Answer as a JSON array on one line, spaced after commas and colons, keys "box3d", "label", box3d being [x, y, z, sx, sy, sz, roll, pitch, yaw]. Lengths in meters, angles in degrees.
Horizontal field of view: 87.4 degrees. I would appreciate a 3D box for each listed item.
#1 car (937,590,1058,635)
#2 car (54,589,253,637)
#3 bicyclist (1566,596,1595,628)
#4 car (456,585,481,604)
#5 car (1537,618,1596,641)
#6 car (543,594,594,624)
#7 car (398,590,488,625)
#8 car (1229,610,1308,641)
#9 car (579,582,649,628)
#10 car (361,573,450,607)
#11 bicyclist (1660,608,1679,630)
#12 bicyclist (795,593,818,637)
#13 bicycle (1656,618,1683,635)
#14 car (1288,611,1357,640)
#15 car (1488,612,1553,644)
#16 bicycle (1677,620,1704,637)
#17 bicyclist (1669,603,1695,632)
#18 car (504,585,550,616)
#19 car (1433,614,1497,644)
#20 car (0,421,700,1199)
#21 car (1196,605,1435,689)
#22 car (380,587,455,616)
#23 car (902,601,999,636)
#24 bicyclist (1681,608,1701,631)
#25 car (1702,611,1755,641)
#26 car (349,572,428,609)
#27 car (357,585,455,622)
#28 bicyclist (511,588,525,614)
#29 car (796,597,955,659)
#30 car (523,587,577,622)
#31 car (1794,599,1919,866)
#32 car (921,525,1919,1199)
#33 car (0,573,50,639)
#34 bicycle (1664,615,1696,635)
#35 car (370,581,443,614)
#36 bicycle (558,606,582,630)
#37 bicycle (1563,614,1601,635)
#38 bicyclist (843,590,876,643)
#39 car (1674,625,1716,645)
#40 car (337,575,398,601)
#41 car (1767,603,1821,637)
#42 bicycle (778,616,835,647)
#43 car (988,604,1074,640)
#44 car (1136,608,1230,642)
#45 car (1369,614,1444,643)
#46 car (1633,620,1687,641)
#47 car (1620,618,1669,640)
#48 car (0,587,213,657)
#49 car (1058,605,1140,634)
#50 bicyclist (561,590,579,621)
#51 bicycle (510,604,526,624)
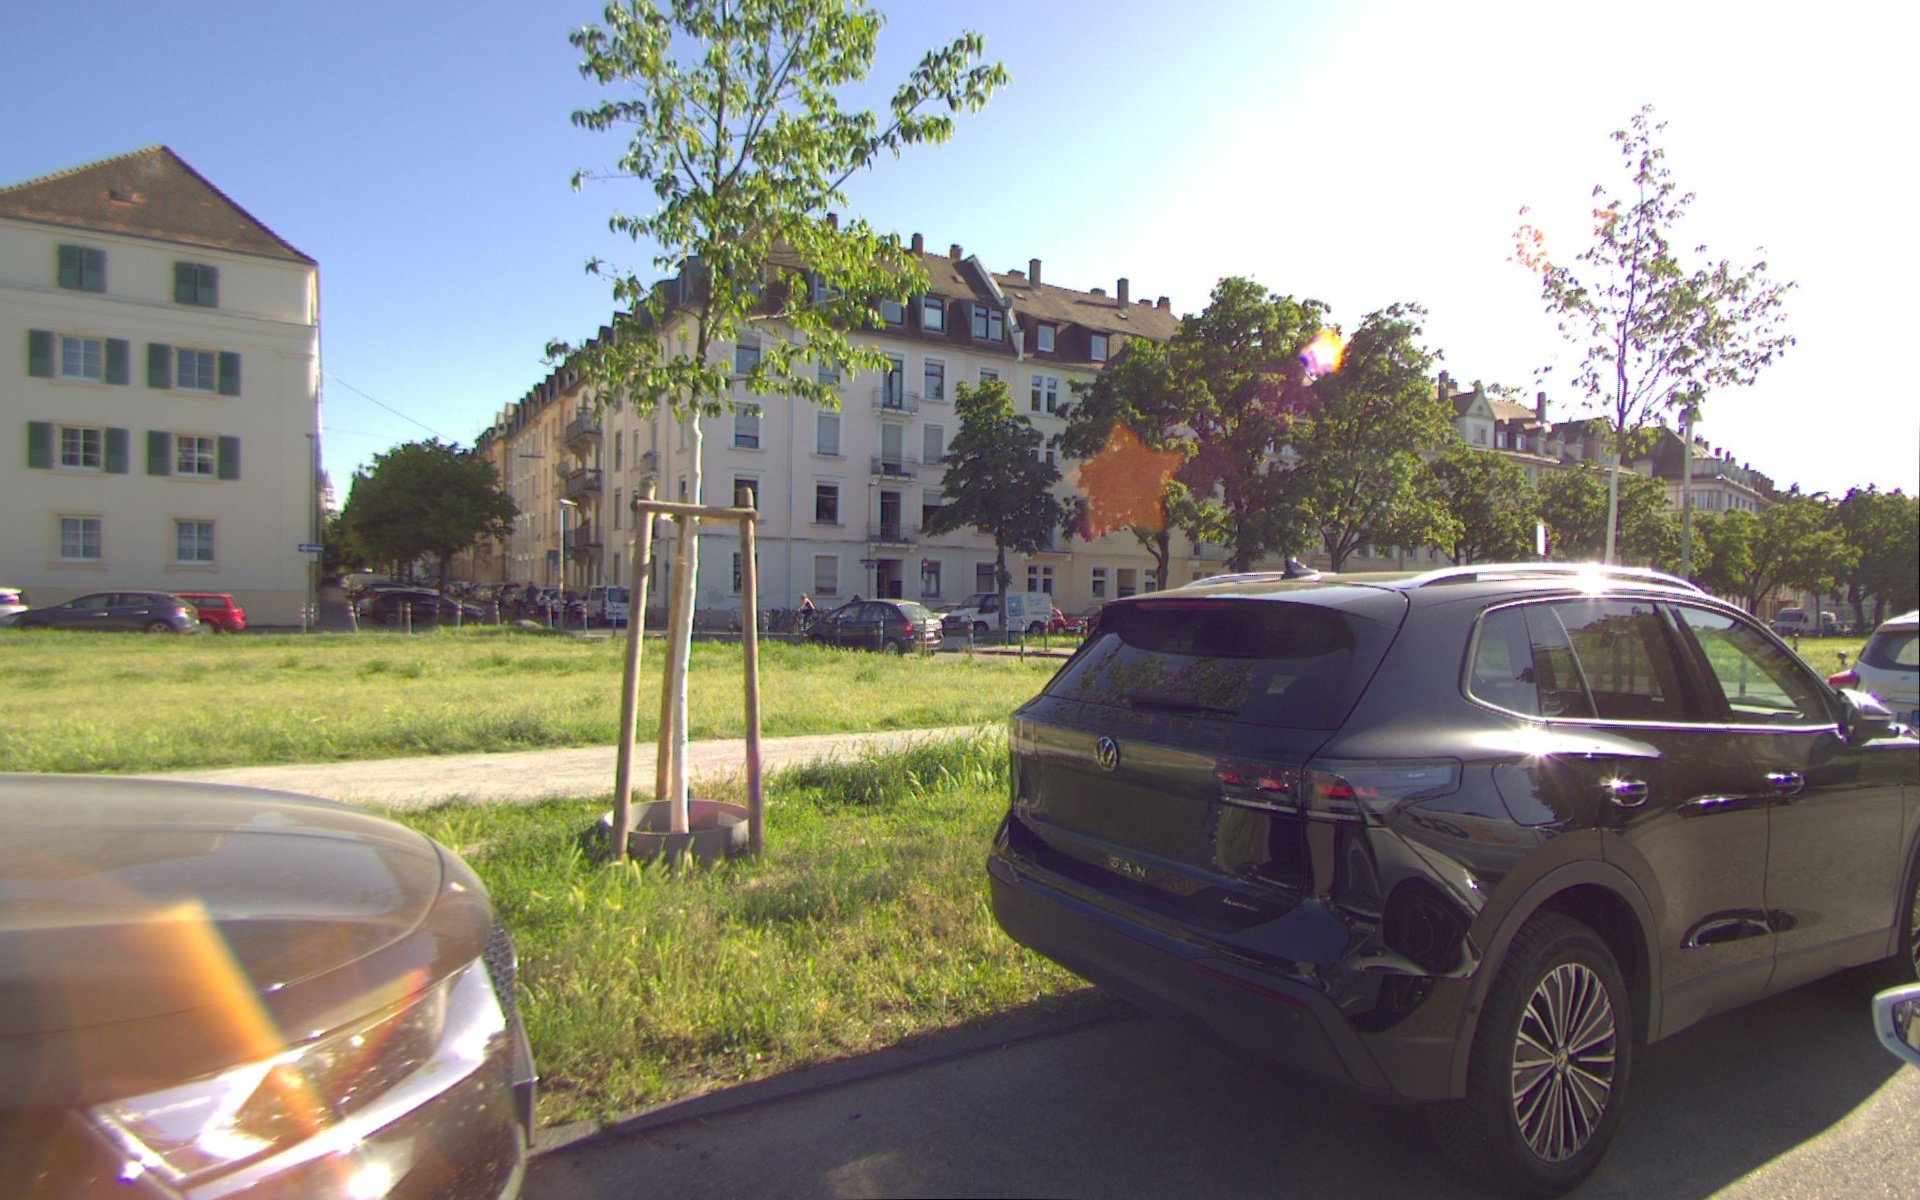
[{"box3d": [1.677, 0.556, 43.993, 5.043, 1.897, 2.070, 1, 0, -33], "label": "car"}, {"box3d": [-26.634, 0.442, 33.440, 4.901, 1.504, 1.984, 1, -1, -31], "label": "car"}, {"box3d": [38.086, 0.737, 61.621, 1.432, 1.862, 0.937, 2, -1, -29], "label": "bicyclist"}, {"box3d": [-46.763, -0.552, 95.547, 1.933, 1.730, 4.131, 1, 0, -30], "label": "car"}, {"box3d": [40.180, 1.960, 66.530, 3.728, 1.448, 1.686, 1, 0, -29], "label": "car"}, {"box3d": [-21.997, 0.469, 56.332, 1.917, 1.590, 3.847, 1, 0, -33], "label": "car"}, {"box3d": [-23.949, 0.366, 46.525, 3.626, 1.541, 1.699, 1, 0, -31], "label": "car"}, {"box3d": [16.050, 1.319, 52.180, 4.036, 1.547, 1.684, 1, 0, -33], "label": "car"}, {"box3d": [-16.344, 0.221, 47.361, 2.117, 2.040, 4.535, 1, 0, -33], "label": "car"}, {"box3d": [-26.610, -0.475, 48.220, 3.578, 1.541, 1.692, 1, 0, -34], "label": "car"}, {"box3d": [46.688, 1.251, 66.078, 0.931, 1.456, 0.734, 1, -1, -30], "label": "bicyclist"}, {"box3d": [-6.594, 0.644, 43.126, 0.792, 1.827, 0.670, 1, 1, -30], "label": "bicyclist"}, {"box3d": [46.636, 1.735, 66.013, 1.934, 1.093, 0.728, 1, 0, -32], "label": "bicycle"}, {"box3d": [22.539, 1.602, 62.479, 3.949, 1.724, 1.839, 1, 0, -28], "label": "car"}, {"box3d": [35.684, 1.791, 63.871, 4.412, 1.933, 1.726, 1, 0, -33], "label": "car"}, {"box3d": [47.333, 1.821, 65.046, 1.934, 1.093, 0.728, 1, 0, -32], "label": "bicycle"}, {"box3d": [48.904, 1.189, 68.048, 1.433, 1.862, 0.936, 2, -1, -31], "label": "bicyclist"}, {"box3d": [-29.341, -0.002, 68.029, 2.130, 2.010, 4.866, 1, 0, -32], "label": "car"}, {"box3d": [30.558, 1.758, 60.797, 4.036, 1.709, 1.622, 1, 0, -33], "label": "car"}, {"box3d": [-2.798, 0.637, 0.878, 4.683, 1.631, 1.811, 1, -1, -30], "label": "car"}, {"box3d": [7.261, 0.887, 20.670, 4.278, 1.428, 1.913, 1, 2, 37], "label": "car"}, {"box3d": [-30.349, 0.082, 56.209, 3.578, 1.541, 1.843, 1, 0, -34], "label": "car"}, {"box3d": [-0.446, 0.876, 48.864, 4.406, 1.608, 1.981, 1, 0, -34], "label": "car"}, {"box3d": [47.337, 1.243, 65.008, 0.931, 1.456, 0.734, 2, -1, -30], "label": "bicyclist"}, {"box3d": [59.770, 2.028, 78.105, 4.954, 2.243, 1.684, 1, 0, -33], "label": "car"}, {"box3d": [-41.763, -0.686, 73.418, 4.905, 2.553, 1.938, 1, 0, -34], "label": "car"}, {"box3d": [-27.661, 0.182, 50.195, 4.196, 1.724, 1.691, 1, 0, -33], "label": "car"}, {"box3d": [-23.253, 0.057, 52.862, 0.528, 1.382, 0.778, 1, 1, -33], "label": "bicyclist"}, {"box3d": [-2.423, 0.742, 28.245, 4.278, 1.597, 1.922, 0, 0, 37], "label": "car"}, {"box3d": [-24.718, 0.264, 60.457, 1.980, 2.000, 5.004, 1, 0, -34], "label": "car"}, {"box3d": [7.944, 0.855, 7.100, 4.235, 1.669, 1.749, 1, -1, -29], "label": "car"}, {"box3d": [2.321, 0.731, 4.051, 4.659, 1.660, 1.834, 1, -2, -30], "label": "car"}, {"box3d": [-30.887, 0.148, 30.977, 3.852, 2.040, 1.657, 2, 0, -31], "label": "car"}, {"box3d": [48.759, 1.705, 67.981, 2.605, 1.269, 0.806, 2, 1, -32], "label": "bicycle"}, {"box3d": [-33.263, -0.153, 60.355, 3.674, 1.859, 1.938, 1, 0, -34], "label": "car"}, {"box3d": [-17.622, 0.809, 45.389, 0.651, 1.030, 1.965, 1, 0, -31], "label": "bicycle"}, {"box3d": [38.143, 1.504, 61.552, 2.603, 1.269, 0.806, 1, 1, -30], "label": "bicycle"}, {"box3d": [-3.294, 0.526, 32.855, 0.864, 1.713, 0.630, 1, 0, 33], "label": "bicyclist"}, {"box3d": [54.936, 2.618, 75.061, 3.196, 1.459, 1.508, 1, 0, -33], "label": "car"}, {"box3d": [-56.785, -1.124, 96.241, 4.905, 2.427, 1.938, 1, 0, -34], "label": "car"}, {"box3d": [70.250, 1.667, 84.588, 5.563, 2.780, 1.905, 1, 0, -33], "label": "car"}, {"box3d": [-6.586, 1.346, 43.160, 2.231, 1.279, 0.837, 1, 0, -31], "label": "bicycle"}, {"box3d": [3.660, 1.129, 51.555, 4.005, 1.775, 1.985, 1, 0, -29], "label": "car"}, {"box3d": [10.915, 1.220, 49.084, 4.646, 1.582, 1.684, 1, 0, -33], "label": "car"}, {"box3d": [25.818, 1.660, 58.033, 4.479, 1.570, 1.746, 1, 0, -33], "label": "car"}, {"box3d": [50.931, 2.204, 73.094, 3.729, 1.459, 1.837, 1, 0, -30], "label": "car"}, {"box3d": [56.496, 2.396, 82.837, 3.954, 1.772, 1.850, 1, 0, -31], "label": "car"}, {"box3d": [-24.242, 0.604, 28.510, 4.652, 1.844, 2.146, 1, 0, -32], "label": "car"}, {"box3d": [6.419, 0.902, 46.388, 3.487, 1.296, 1.684, 1, 0, -33], "label": "car"}, {"box3d": [-17.679, 0.253, 45.485, 0.616, 1.382, 0.870, 1, 1, -31], "label": "bicyclist"}, {"box3d": [-23.237, 0.725, 52.796, 0.524, 1.030, 1.474, 1, 0, -33], "label": "bicycle"}]
